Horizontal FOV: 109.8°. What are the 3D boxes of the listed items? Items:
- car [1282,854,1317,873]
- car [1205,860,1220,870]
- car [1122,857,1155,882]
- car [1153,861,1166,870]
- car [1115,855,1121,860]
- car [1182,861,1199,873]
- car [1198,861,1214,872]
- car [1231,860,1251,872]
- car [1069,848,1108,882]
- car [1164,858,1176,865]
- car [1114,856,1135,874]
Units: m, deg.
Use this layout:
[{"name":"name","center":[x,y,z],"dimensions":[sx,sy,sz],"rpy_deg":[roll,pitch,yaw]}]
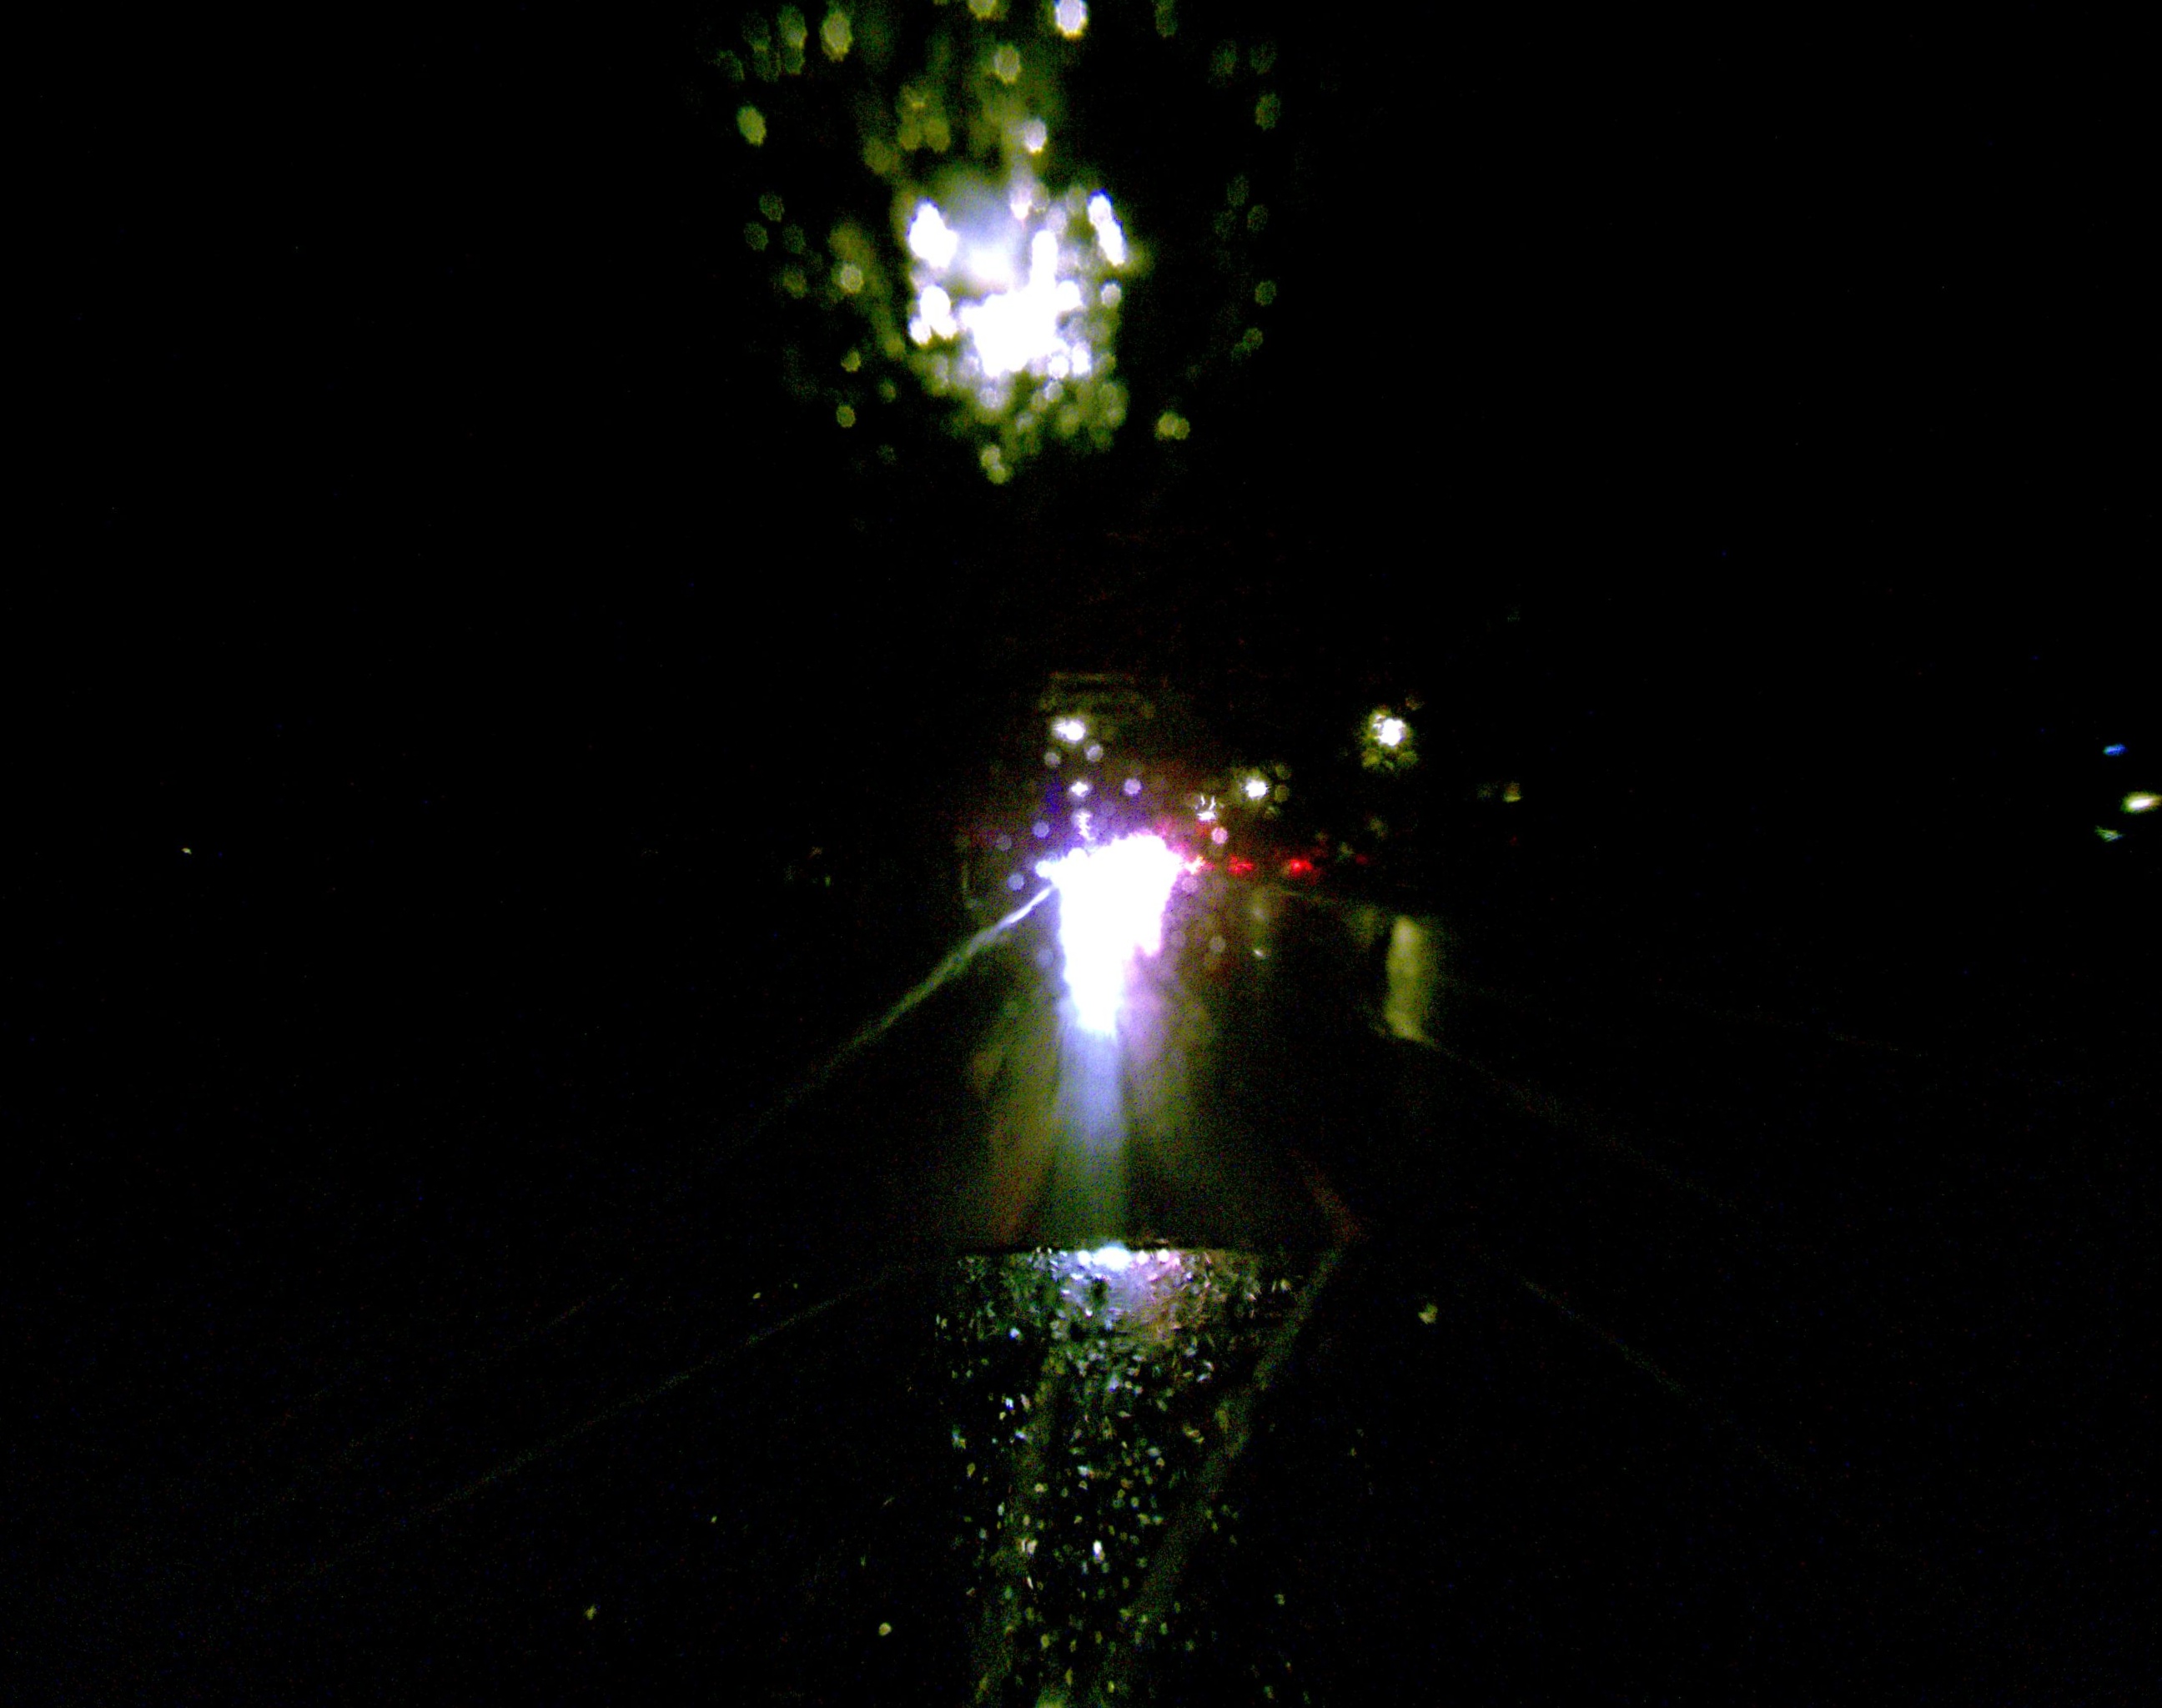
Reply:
[{"name":"car","center":[20.622,0.895,71.909],"dimensions":[2.029,1.674,4.548],"rpy_deg":[-2,0,0]},{"name":"car","center":[21.844,1.829,126.181],"dimensions":[1.847,1.583,4.366],"rpy_deg":[-2,0,2]},{"name":"car","center":[3.724,0.960,49.579],"dimensions":[1.833,1.518,4.875],"rpy_deg":[-2,0,1]},{"name":"car","center":[15.634,2.320,151.465],"dimensions":[1.848,1.583,5.326],"rpy_deg":[-2,0,-3]},{"name":"car","center":[12.532,1.054,257.388],"dimensions":[1.833,1.696,4.195],"rpy_deg":[-2,0,1]},{"name":"car","center":[15.147,1.798,105.574],"dimensions":[1.847,1.477,4.366],"rpy_deg":[-2,0,2]},{"name":"car","center":[18.827,1.853,114.461],"dimensions":[1.847,1.583,4.366],"rpy_deg":[-2,0,2]},{"name":"car","center":[21.070,1.574,100.343],"dimensions":[1.847,1.583,4.366],"rpy_deg":[-2,0,2]},{"name":"car","center":[0.418,0.576,41.288],"dimensions":[1.950,1.709,4.442],"rpy_deg":[-2,0,1]},{"name":"car","center":[18.620,1.499,159.813],"dimensions":[1.848,1.350,5.559],"rpy_deg":[-2,0,0]},{"name":"car","center":[4.220,1.028,74.655],"dimensions":[1.833,1.696,4.195],"rpy_deg":[-2,0,1]}]
